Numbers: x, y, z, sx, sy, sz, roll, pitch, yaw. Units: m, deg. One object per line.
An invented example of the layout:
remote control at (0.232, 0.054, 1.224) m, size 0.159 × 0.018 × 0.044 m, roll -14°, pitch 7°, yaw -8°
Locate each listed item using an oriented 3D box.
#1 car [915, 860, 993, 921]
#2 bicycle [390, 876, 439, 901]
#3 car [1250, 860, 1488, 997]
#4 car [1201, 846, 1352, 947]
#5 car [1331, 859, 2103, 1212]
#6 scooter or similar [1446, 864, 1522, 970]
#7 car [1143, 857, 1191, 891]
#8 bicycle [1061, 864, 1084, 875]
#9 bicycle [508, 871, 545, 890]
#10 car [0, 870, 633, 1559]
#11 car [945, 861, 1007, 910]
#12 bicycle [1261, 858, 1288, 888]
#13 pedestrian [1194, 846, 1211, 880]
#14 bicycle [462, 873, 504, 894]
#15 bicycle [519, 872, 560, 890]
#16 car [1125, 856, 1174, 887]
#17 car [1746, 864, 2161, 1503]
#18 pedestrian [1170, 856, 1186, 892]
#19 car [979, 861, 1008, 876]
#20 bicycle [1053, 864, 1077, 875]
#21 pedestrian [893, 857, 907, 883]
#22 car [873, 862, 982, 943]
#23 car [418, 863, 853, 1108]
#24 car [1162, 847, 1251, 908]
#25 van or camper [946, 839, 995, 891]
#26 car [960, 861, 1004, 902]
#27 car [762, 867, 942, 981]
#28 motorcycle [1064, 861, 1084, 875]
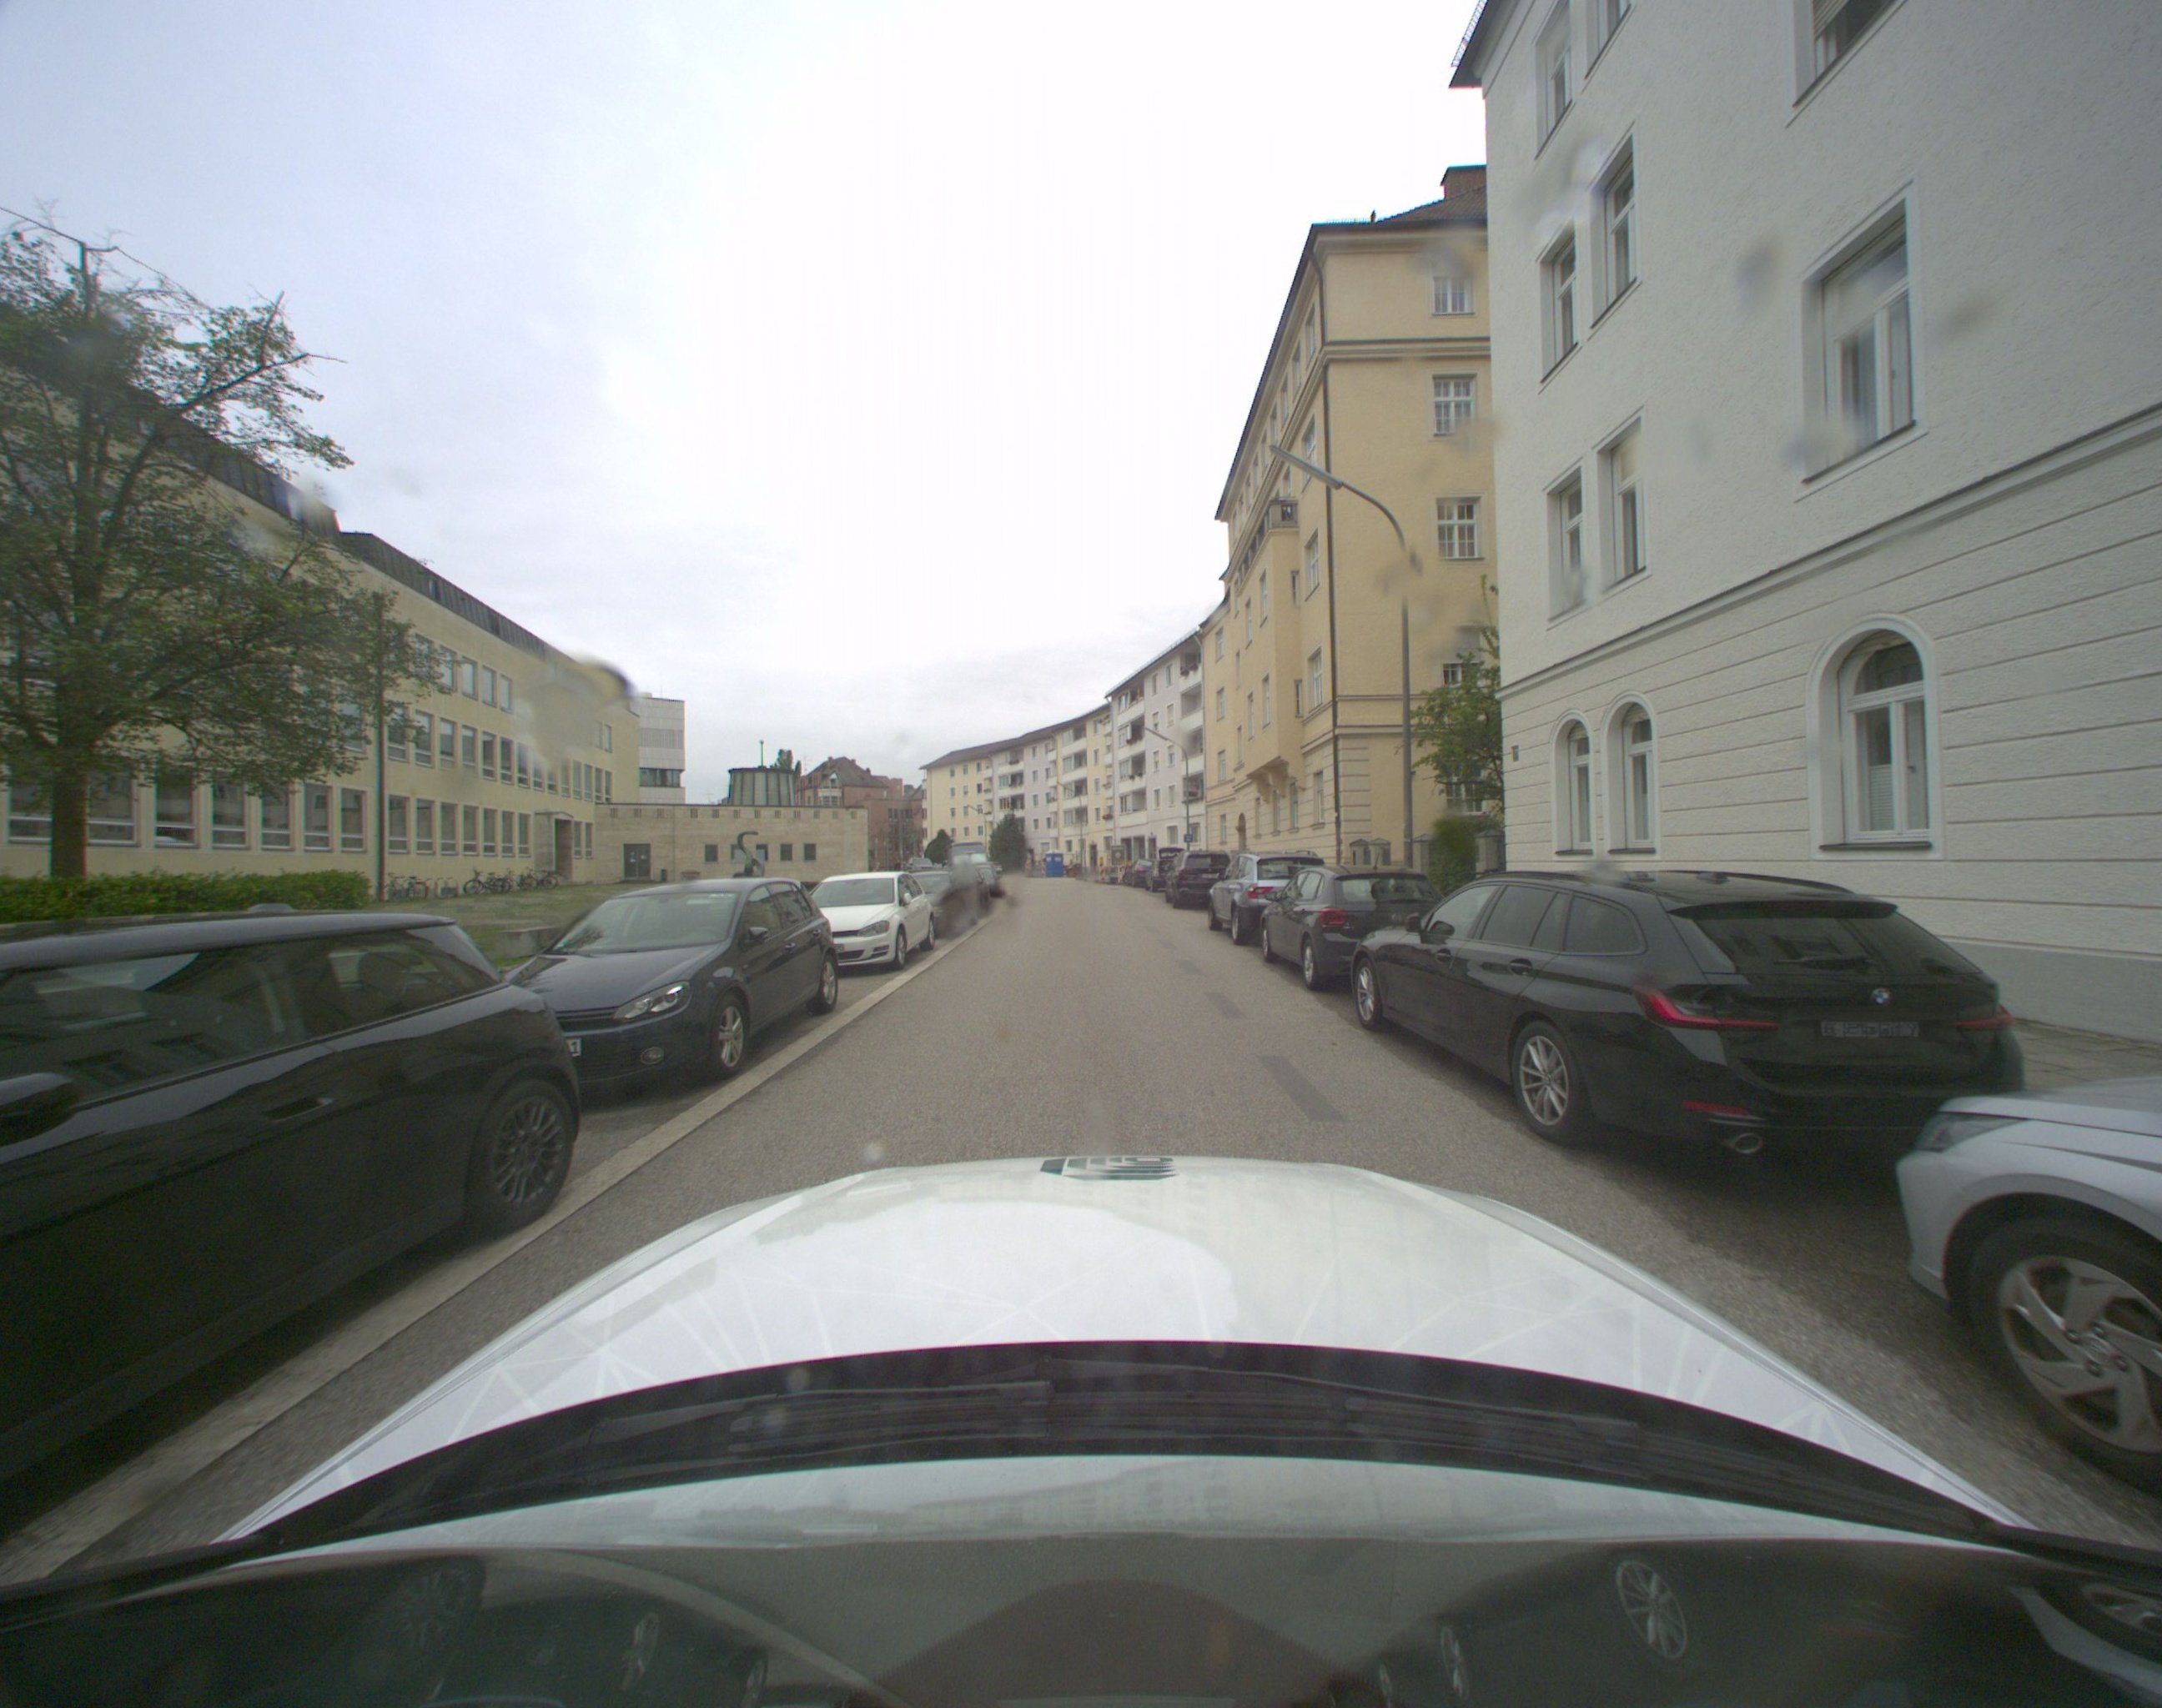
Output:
car at (-3.531, 0.978, 23.213) m, size 1.626 × 1.494 × 3.602 m, roll -3°, pitch 0°, yaw -1°
bicycle at (-25.950, 1.346, 31.707) m, size 1.410 × 0.945 × 0.412 m, roll 0°, pitch -1°, yaw -16°
car at (3.550, 0.829, 10.876) m, size 1.821 × 1.450 × 4.085 m, roll 0°, pitch 0°, yaw 1°
car at (3.606, 0.717, 15.864) m, size 1.840 × 1.663 × 4.497 m, roll -1°, pitch 0°, yaw 0°
car at (3.398, 0.778, 5.768) m, size 1.869 × 1.450 × 4.678 m, roll 0°, pitch 0°, yaw 1°
scooter or similar at (4.950, 0.744, 10.050) m, size 0.425 × 1.230 × 1.048 m, roll -1°, pitch 0°, yaw 1°
car at (3.766, 0.857, 36.217) m, size 1.626 × 1.417 × 3.677 m, roll 0°, pitch 0°, yaw -2°
bicycle at (-0.872, 1.570, 82.923) m, size 2.242 × 1.069 × 0.912 m, roll -1°, pitch -1°, yaw -23°
bicycle at (-27.989, 1.336, 41.101) m, size 1.474 × 0.945 × 0.412 m, roll 0°, pitch -1°, yaw -16°
car at (-3.225, 0.852, 2.354) m, size 1.625 × 1.494 × 3.820 m, roll -2°, pitch 0°, yaw 1°
car at (-3.590, 1.036, 28.417) m, size 1.770 × 1.465 × 4.460 m, roll -3°, pitch 0°, yaw -4°
bicycle at (7.216, 0.693, 30.459) m, size 0.500 × 1.049 × 2.139 m, roll -4°, pitch 0°, yaw 3°
pedestrian at (6.108, 0.451, 40.876) m, size 0.615 × 1.690 × 0.919 m, roll -4°, pitch -1°, yaw 1°
bicycle at (-27.271, 1.341, 37.171) m, size 1.474 × 0.945 × 0.412 m, roll 0°, pitch -1°, yaw -16°
bicycle at (-28.230, 1.392, 42.500) m, size 1.710 × 0.945 × 0.412 m, roll 0°, pitch -1°, yaw -16°
car at (3.502, 0.874, 42.488) m, size 1.904 × 1.477 × 4.941 m, roll 0°, pitch 0°, yaw -3°
car at (3.345, 0.763, 0.955) m, size 1.719 × 1.450 × 4.186 m, roll 0°, pitch 0°, yaw 0°
pedestrian at (4.104, 0.833, 34.444) m, size 0.626 × 1.528 × 0.578 m, roll 0°, pitch -1°, yaw 0°
car at (-9.566, 1.590, 88.890) m, size 1.840 × 1.574 × 3.965 m, roll 0°, pitch -1°, yaw -27°
bicycle at (-1.669, 1.584, 84.229) m, size 2.242 × 1.069 × 0.912 m, roll -1°, pitch -1°, yaw -23°
pedestrian at (-13.013, 1.158, 58.637) m, size 0.847 × 1.866 × 0.707 m, roll 0°, pitch -1°, yaw -27°
car at (-3.334, 0.994, 18.474) m, size 1.626 × 1.494 × 4.273 m, roll -3°, pitch 0°, yaw -1°
car at (-3.387, 0.848, 7.196) m, size 1.626 × 1.494 × 4.099 m, roll -1°, pitch 0°, yaw -1°
car at (3.876, 0.686, 26.005) m, size 2.162 × 1.739 × 5.025 m, roll 0°, pitch 0°, yaw 1°
van or camper at (-5.992, 0.551, 43.583) m, size 2.297 × 2.581 × 6.064 m, roll 0°, pitch 0°, yaw -10°
car at (-3.895, 1.063, 32.326) m, size 1.516 × 1.465 × 2.883 m, roll -3°, pitch 0°, yaw -4°
car at (-3.476, 0.980, 13.204) m, size 1.736 × 1.422 × 4.292 m, roll -3°, pitch 0°, yaw -1°
motorcycle at (-0.655, 1.296, 74.902) m, size 0.936 × 1.221 × 2.488 m, roll 0°, pitch -1°, yaw -23°
